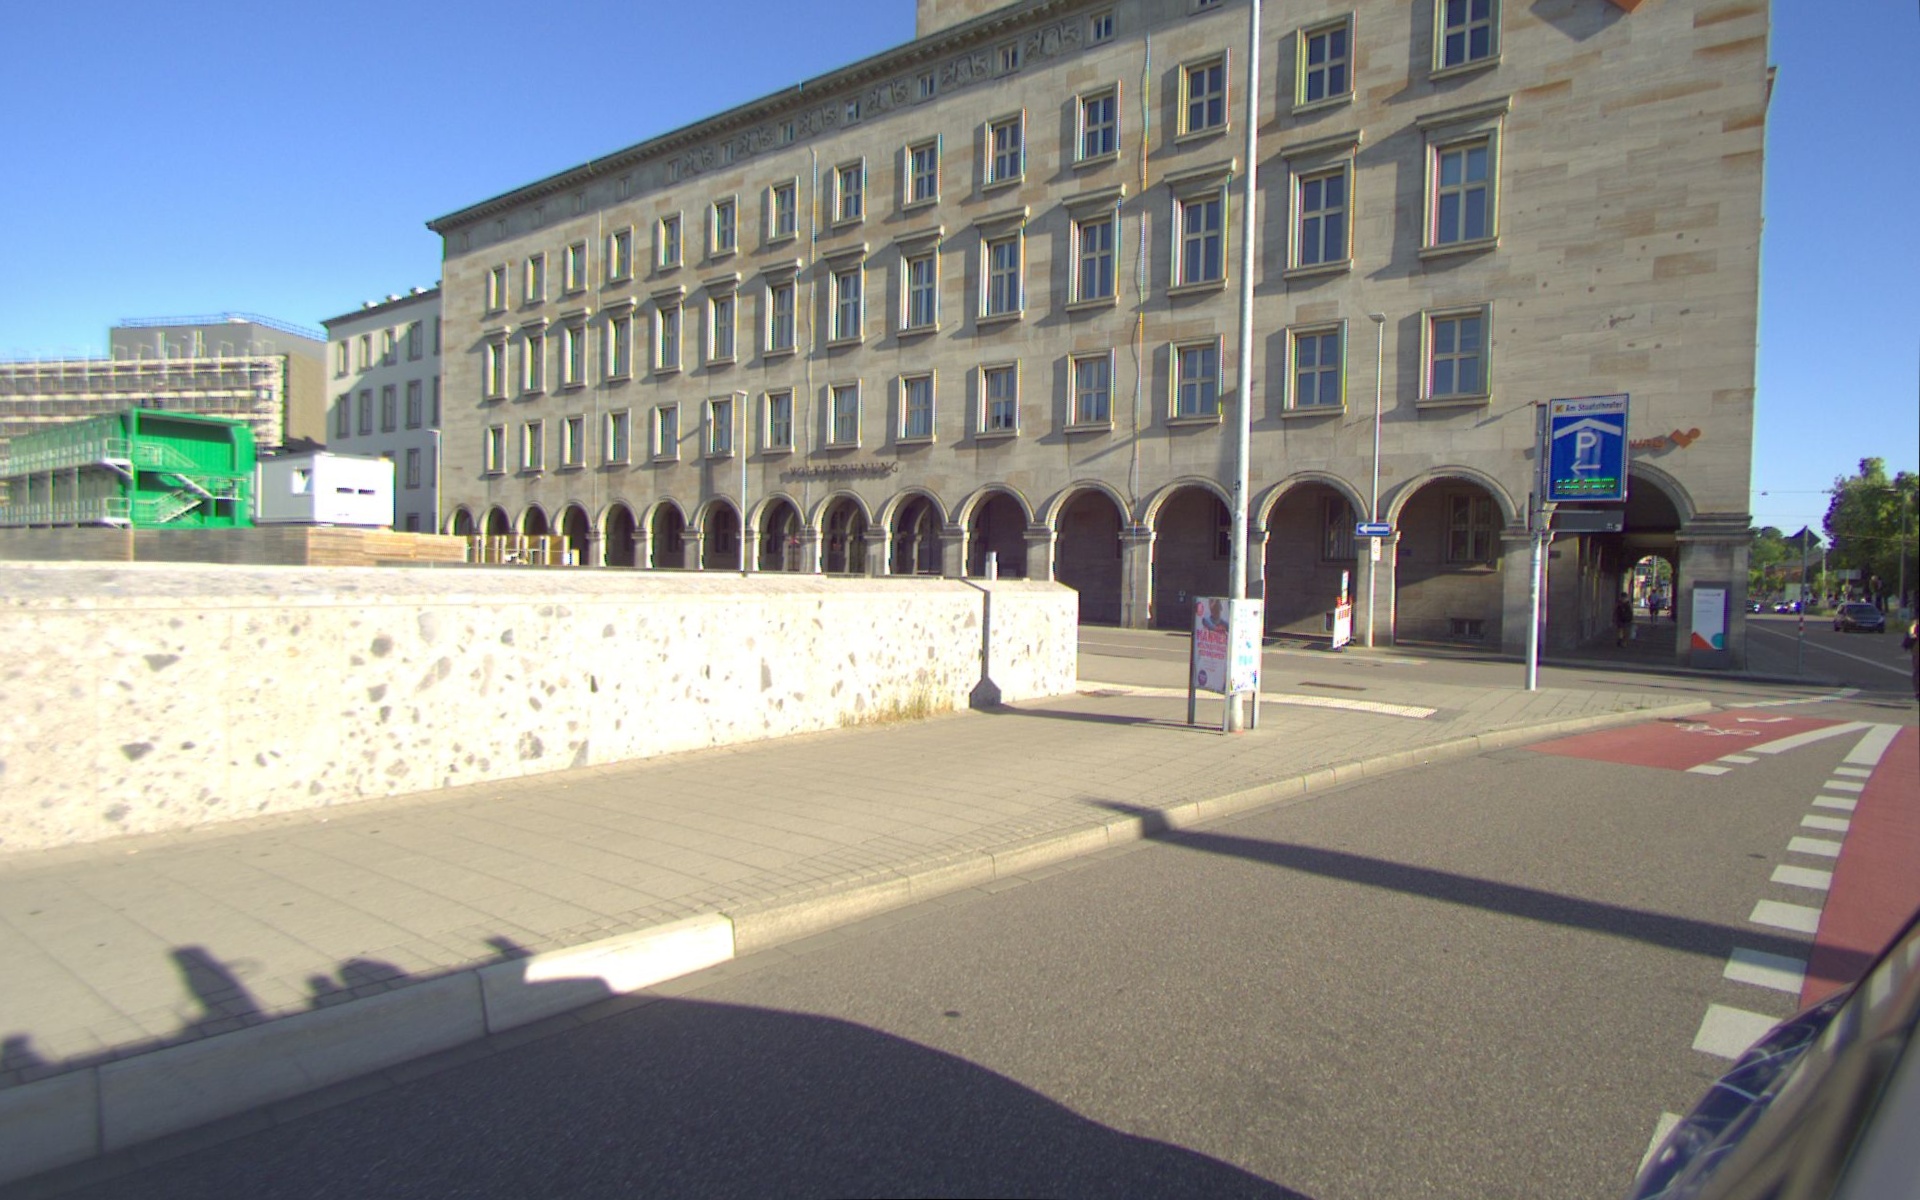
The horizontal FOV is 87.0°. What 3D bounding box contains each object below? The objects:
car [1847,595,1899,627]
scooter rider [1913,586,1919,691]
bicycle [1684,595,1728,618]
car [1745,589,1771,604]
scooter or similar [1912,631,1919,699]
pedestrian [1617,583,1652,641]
[{"bbox_3d":[50.079,0.557,55.584,1.725,1.659,3.947,0,1,37],"label":"car"},{"bbox_3d":[15.613,0.618,16.081,0.560,1.652,0.641,2,2,37],"label":"scooter rider"},{"bbox_3d":[39.094,0.348,53.038,1.694,1.063,0.524,4,2,22],"label":"bicycle"},{"bbox_3d":[87.312,-0.413,110.777,1.988,1.593,4.491,2,2,36],"label":"car"},{"bbox_3d":[15.529,1.044,15.992,0.554,1.044,1.102,2,2,37],"label":"scooter or similar"},{"bbox_3d":[19.371,0.328,29.057,0.773,1.589,0.941,2,1,34],"label":"pedestrian"}]
